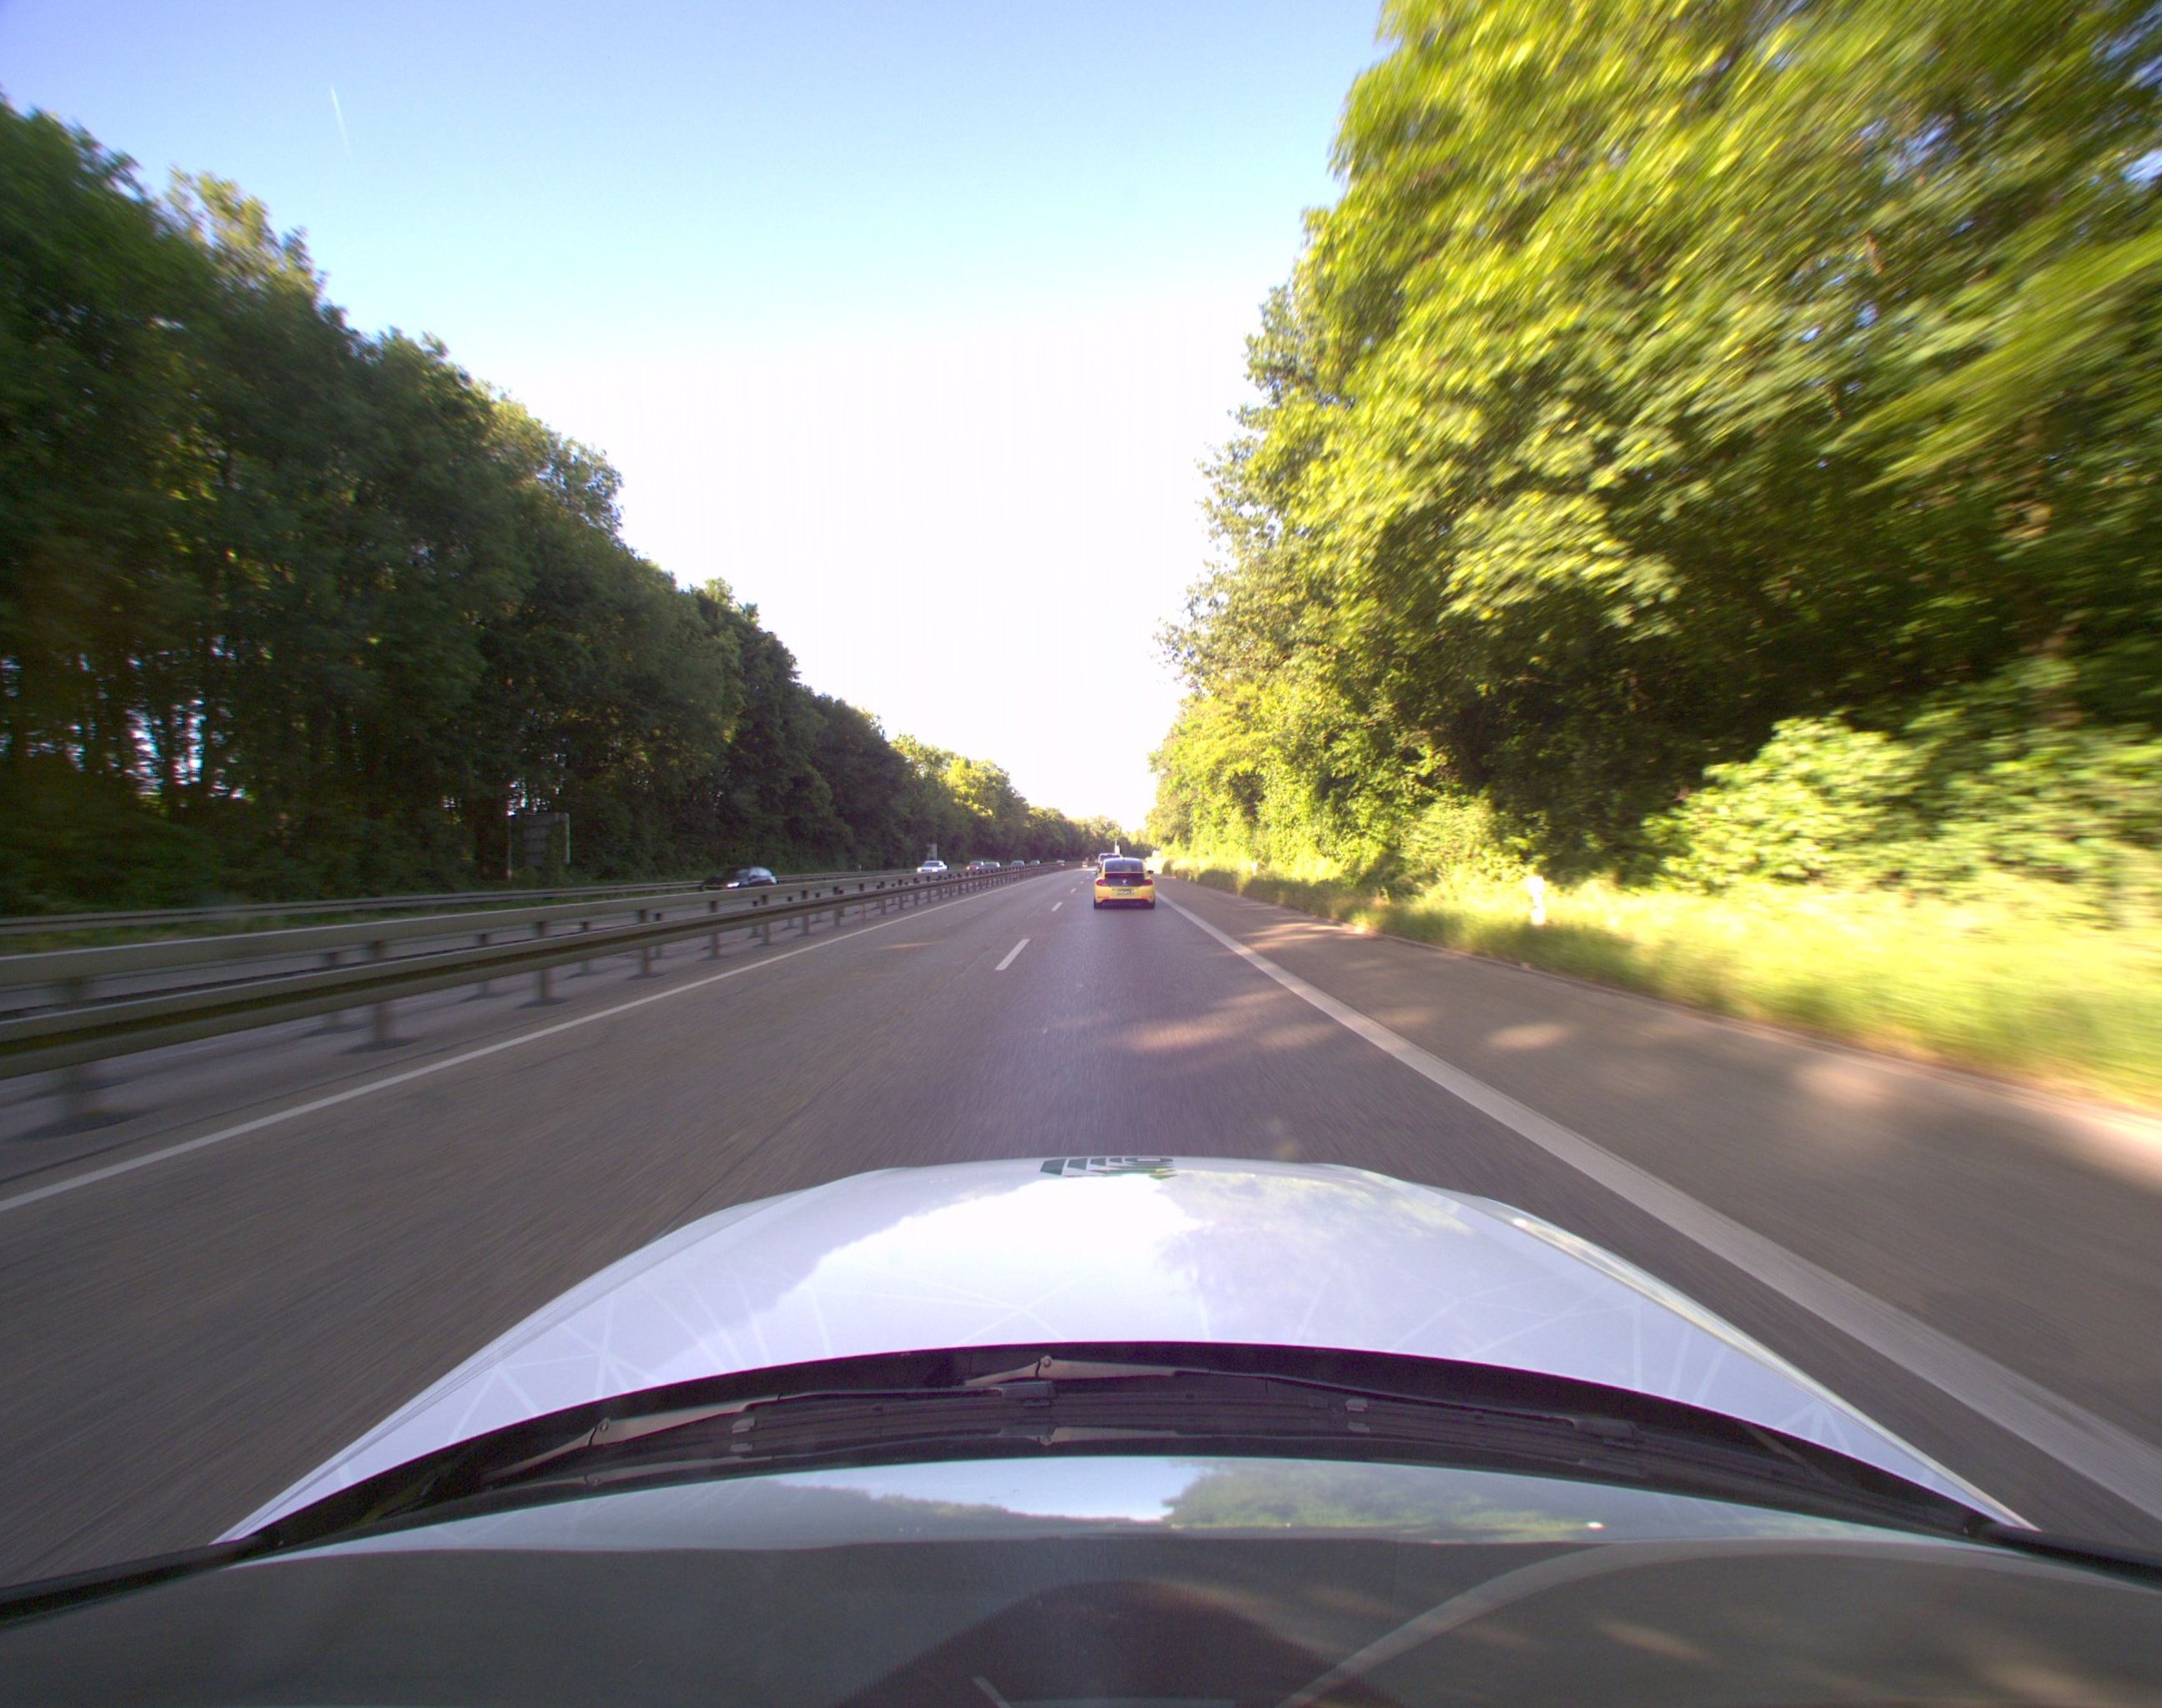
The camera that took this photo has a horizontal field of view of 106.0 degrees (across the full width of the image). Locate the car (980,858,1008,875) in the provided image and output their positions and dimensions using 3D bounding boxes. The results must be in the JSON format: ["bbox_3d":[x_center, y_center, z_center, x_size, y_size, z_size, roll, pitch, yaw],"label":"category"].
[{"bbox_3d":[-8.051,1.154,75.679,1.716,1.468,4.101,-3,-1,5],"label":"car"}]

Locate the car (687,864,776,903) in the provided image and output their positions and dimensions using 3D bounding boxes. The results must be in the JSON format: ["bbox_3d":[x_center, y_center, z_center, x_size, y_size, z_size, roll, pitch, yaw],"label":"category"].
[{"bbox_3d":[-15.107,1.222,35.489,1.986,1.486,4.001,-3,-1,1],"label":"car"}]

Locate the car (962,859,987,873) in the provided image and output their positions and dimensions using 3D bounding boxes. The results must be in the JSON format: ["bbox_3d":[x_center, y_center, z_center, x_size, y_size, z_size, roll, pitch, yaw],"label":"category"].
[{"bbox_3d":[-11.844,1.331,90.765,1.985,1.464,4.003,-3,-1,3],"label":"car"}]

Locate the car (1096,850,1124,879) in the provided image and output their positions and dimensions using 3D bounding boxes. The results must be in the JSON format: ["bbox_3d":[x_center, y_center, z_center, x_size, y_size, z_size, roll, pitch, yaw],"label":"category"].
[{"bbox_3d":[1.894,0.685,53.497,1.735,1.830,3.423,0,0,2],"label":"car"}]

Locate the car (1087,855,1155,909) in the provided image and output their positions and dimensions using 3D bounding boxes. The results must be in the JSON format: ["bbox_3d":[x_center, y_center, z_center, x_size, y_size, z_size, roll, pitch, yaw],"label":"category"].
[{"bbox_3d":[1.280,0.794,24.694,1.930,1.508,3.427,0,0,5],"label":"car"}]

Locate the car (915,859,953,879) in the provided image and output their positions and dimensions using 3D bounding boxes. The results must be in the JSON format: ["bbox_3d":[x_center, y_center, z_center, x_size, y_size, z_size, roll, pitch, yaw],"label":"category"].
[{"bbox_3d":[-12.580,1.256,69.907,1.984,1.623,4.795,-3,-1,5],"label":"car"}]
